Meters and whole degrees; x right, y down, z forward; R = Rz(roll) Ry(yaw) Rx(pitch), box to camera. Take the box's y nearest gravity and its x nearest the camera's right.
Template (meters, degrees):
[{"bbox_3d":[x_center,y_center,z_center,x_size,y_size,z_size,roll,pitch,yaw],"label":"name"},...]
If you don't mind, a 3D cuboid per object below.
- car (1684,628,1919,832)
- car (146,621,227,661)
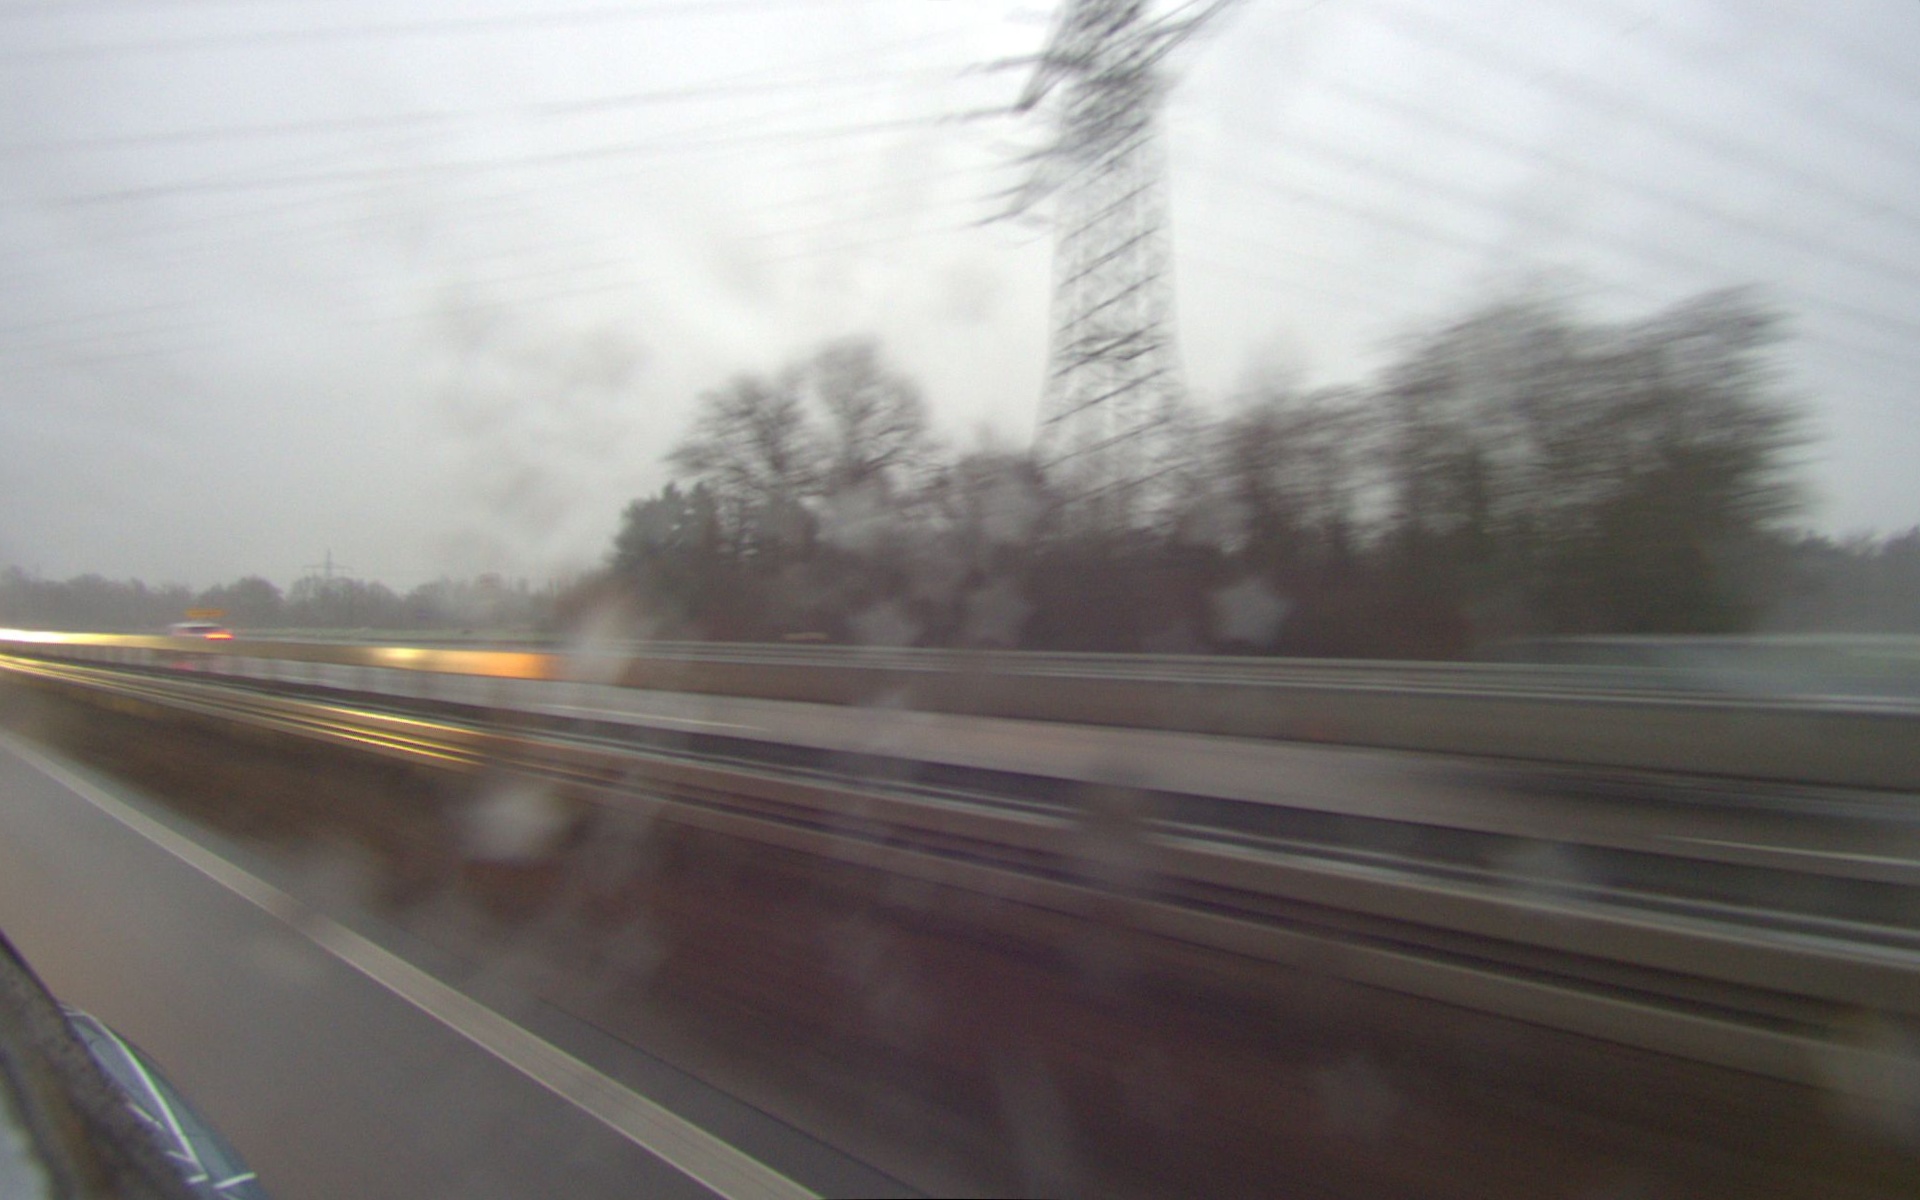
[{"bbox_3d":[8.037,0.933,7.331,4.407,1.418,1.738,-1,-1,41],"label":"car"},{"bbox_3d":[-32.554,1.671,42.528,4.750,1.583,1.778,-1,-1,41],"label":"car"}]
